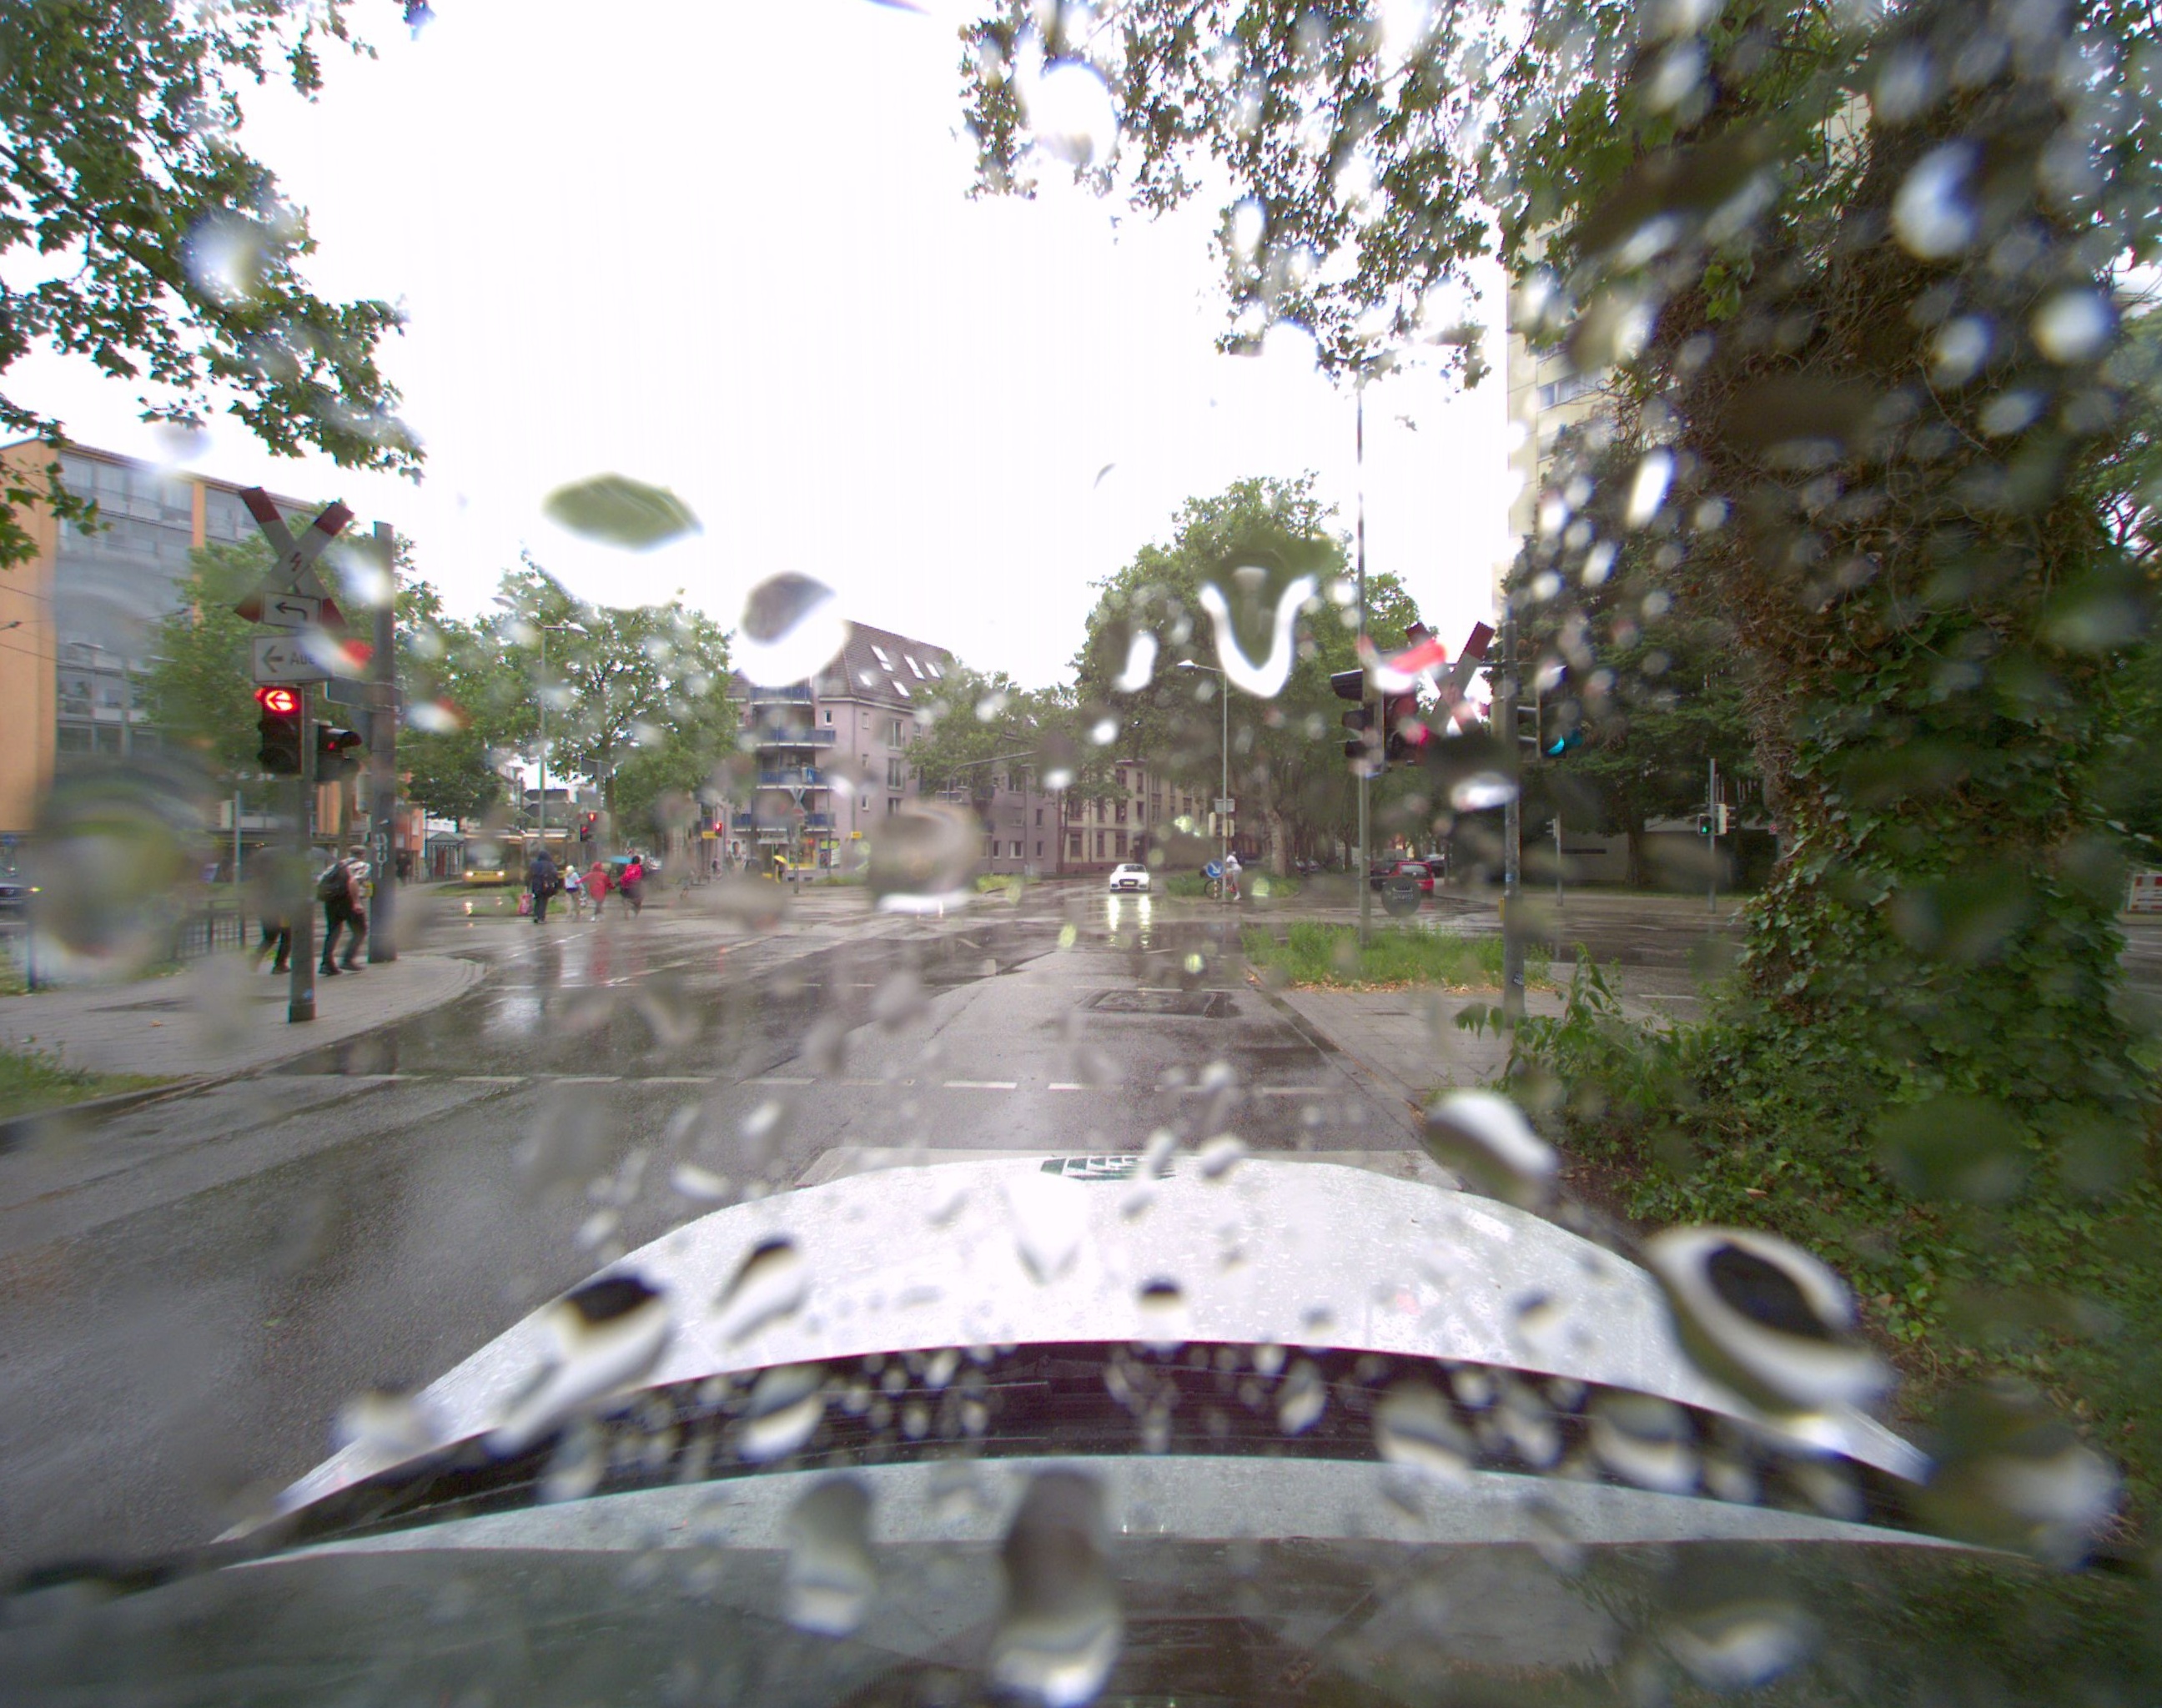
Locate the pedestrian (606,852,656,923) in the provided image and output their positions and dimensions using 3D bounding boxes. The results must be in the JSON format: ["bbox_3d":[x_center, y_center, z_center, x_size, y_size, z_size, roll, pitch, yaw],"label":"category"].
[{"bbox_3d":[-10.815,0.786,19.593,0.728,1.624,0.816,-1,1,-5],"label":"pedestrian"}]

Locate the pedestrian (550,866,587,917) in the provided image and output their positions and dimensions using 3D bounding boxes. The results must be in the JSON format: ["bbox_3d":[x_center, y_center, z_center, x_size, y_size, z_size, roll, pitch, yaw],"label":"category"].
[{"bbox_3d":[-13.981,1.000,22.235,0.657,1.349,0.706,0,0,-12],"label":"pedestrian"}]

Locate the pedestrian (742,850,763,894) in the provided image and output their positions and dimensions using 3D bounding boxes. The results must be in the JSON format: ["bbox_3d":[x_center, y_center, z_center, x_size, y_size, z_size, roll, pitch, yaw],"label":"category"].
[{"bbox_3d":[-13.799,0.741,34.227,0.791,1.855,0.676,0,0,-22],"label":"pedestrian"}]

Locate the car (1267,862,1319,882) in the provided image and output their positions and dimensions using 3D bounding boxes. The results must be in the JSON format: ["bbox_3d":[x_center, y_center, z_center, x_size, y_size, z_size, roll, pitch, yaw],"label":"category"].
[{"bbox_3d":[16.934,1.439,65.197,3.958,1.486,2.008,-1,-1,14],"label":"car"}]

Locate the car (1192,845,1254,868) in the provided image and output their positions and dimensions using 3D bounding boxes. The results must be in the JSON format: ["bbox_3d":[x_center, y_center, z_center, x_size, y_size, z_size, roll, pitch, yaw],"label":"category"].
[{"bbox_3d":[9.384,0.184,53.670,3.838,1.486,1.723,-1,-1,14],"label":"car"}]

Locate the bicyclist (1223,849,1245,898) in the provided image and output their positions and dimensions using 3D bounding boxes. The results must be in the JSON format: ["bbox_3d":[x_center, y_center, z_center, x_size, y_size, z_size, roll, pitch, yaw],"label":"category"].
[{"bbox_3d":[5.686,0.716,30.366,0.790,1.786,0.699,-1,-1,9],"label":"bicyclist"}]

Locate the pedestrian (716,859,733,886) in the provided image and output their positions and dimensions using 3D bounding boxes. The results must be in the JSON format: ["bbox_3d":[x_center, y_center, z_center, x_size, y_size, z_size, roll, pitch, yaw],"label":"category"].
[{"bbox_3d":[-20.659,1.086,47.177,0.755,1.533,0.783,0,-1,-34],"label":"pedestrian"}]

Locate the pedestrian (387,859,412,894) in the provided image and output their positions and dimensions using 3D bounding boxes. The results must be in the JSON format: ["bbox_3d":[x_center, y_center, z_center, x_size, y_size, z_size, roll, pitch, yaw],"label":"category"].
[{"bbox_3d":[-35.307,1.163,42.188,0.965,1.766,0.941,0,-1,-39],"label":"pedestrian"}]

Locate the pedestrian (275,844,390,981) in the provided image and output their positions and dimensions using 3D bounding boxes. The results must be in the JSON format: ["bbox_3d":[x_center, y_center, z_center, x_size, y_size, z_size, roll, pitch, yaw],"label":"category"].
[{"bbox_3d":[-10.015,0.745,10.939,0.867,1.755,0.826,0,0,-18],"label":"pedestrian"}]

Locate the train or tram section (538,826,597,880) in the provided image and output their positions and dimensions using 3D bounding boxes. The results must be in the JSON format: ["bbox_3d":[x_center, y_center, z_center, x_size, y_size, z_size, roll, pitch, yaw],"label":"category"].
[{"bbox_3d":[-38.173,-0.037,60.925,2.877,3.545,13.588,0,0,-29],"label":"train or tram section"}]

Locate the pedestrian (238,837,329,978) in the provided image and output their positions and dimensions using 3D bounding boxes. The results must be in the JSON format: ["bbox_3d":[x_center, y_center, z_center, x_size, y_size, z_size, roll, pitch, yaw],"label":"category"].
[{"bbox_3d":[-11.091,0.709,11.358,0.876,1.864,0.881,0,0,-43],"label":"pedestrian"}]

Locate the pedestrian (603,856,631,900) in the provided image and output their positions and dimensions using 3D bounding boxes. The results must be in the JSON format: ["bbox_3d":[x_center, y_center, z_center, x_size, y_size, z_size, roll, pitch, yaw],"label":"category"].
[{"bbox_3d":[-19.146,0.981,33.628,0.962,1.766,0.944,0,-1,-28],"label":"pedestrian"}]

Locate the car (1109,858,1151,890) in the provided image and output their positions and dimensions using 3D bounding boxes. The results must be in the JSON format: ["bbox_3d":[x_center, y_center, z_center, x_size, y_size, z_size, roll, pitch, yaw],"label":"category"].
[{"bbox_3d":[2.380,0.938,39.210,1.876,1.436,4.004,0,0,4],"label":"car"}]

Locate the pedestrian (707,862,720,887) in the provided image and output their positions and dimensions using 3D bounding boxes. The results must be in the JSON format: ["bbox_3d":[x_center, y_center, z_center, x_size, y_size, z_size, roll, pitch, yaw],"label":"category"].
[{"bbox_3d":[-23.916,1.338,53.004,0.677,1.600,0.959,0,-1,-29],"label":"pedestrian"}]

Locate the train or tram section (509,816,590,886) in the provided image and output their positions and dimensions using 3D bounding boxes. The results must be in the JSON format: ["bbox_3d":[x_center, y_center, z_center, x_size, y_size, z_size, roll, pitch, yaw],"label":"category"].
[{"bbox_3d":[-31.172,-0.114,48.316,2.877,3.545,15.229,0,0,-29],"label":"train or tram section"}]

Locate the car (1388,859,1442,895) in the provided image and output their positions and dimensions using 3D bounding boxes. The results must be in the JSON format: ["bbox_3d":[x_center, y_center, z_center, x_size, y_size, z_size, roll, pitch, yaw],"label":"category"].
[{"bbox_3d":[14.822,0.983,36.334,1.778,1.498,4.017,0,0,16],"label":"car"}]

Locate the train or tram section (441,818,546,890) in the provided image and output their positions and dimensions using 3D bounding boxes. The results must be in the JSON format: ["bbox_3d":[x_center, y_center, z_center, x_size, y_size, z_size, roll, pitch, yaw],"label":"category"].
[{"bbox_3d":[-36.452,0.084,51.252,2.897,3.768,17.089,0,-1,-28],"label":"train or tram section"}]

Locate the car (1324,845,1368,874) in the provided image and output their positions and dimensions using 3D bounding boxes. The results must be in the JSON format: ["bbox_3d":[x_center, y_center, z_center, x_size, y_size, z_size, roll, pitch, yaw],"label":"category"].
[{"bbox_3d":[28.317,0.591,87.217,2.040,2.948,4.742,0,-1,-18],"label":"car"}]

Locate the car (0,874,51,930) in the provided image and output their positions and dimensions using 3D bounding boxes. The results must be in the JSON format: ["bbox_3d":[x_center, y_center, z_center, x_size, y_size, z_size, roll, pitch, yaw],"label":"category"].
[{"bbox_3d":[-32.258,1.368,23.433,3.994,1.530,1.615,0,1,12],"label":"car"}]

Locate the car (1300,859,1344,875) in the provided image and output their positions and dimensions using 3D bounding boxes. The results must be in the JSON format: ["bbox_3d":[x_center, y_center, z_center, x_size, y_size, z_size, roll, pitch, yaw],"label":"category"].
[{"bbox_3d":[23.132,1.257,78.261,3.958,1.547,2.008,-1,-1,14],"label":"car"}]

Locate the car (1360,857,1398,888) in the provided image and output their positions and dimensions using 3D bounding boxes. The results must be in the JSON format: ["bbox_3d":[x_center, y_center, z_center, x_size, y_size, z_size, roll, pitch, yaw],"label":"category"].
[{"bbox_3d":[17.321,1.065,47.426,1.769,1.727,4.017,-1,-1,16],"label":"car"}]

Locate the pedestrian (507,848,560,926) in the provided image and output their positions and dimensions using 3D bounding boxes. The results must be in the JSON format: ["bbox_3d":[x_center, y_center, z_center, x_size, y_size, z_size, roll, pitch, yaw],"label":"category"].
[{"bbox_3d":[-12.520,0.725,18.633,0.844,1.698,0.680,-4,3,-42],"label":"pedestrian"}]

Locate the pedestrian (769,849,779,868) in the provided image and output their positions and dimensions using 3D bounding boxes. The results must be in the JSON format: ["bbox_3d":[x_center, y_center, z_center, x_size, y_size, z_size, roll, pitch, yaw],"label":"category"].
[{"bbox_3d":[-20.774,0.310,55.111,0.561,1.329,0.443,0,-1,-19],"label":"pedestrian"}]

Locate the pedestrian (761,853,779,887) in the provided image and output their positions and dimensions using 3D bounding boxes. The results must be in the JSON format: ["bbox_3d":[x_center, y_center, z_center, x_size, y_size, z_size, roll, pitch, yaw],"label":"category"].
[{"bbox_3d":[-19.765,0.988,51.757,0.907,2.151,0.884,0,-1,-8],"label":"pedestrian"}]

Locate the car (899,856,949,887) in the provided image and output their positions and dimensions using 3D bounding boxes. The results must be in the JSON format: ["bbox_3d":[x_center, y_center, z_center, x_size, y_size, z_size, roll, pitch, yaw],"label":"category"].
[{"bbox_3d":[-8.011,0.856,41.841,1.745,1.512,3.839,0,0,1],"label":"car"}]

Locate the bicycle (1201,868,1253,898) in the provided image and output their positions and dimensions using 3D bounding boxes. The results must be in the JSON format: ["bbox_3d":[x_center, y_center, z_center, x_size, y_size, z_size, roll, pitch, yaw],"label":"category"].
[{"bbox_3d":[5.435,1.071,30.401,1.862,1.081,0.658,-1,-1,9],"label":"bicycle"}]

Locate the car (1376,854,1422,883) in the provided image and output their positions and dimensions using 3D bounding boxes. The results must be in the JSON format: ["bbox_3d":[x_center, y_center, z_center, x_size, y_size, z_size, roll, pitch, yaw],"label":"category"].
[{"bbox_3d":[15.890,0.698,40.870,1.770,1.348,3.945,0,1,16],"label":"car"}]

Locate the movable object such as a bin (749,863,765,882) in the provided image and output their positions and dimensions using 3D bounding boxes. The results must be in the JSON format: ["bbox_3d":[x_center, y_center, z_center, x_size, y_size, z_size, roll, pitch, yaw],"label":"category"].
[{"bbox_3d":[-20.679,1.170,51.966,0.749,1.236,0.666,0,-1,-6],"label":"movable object such as a bin"}]

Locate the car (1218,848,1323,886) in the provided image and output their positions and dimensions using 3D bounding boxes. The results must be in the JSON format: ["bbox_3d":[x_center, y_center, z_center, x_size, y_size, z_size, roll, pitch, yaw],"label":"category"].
[{"bbox_3d":[7.610,0.521,32.697,3.958,1.486,2.008,-1,-1,14],"label":"car"}]

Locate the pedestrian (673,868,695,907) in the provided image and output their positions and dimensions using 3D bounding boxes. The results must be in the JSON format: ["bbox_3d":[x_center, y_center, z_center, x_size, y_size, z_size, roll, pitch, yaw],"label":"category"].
[{"bbox_3d":[-14.989,1.251,30.733,0.653,1.396,0.774,0,0,-33],"label":"pedestrian"}]

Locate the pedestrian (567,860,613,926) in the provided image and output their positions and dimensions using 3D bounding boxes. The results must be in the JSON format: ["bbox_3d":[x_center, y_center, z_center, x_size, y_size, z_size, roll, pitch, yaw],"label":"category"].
[{"bbox_3d":[-11.506,0.901,19.099,0.681,1.520,0.658,-1,0,-7],"label":"pedestrian"}]
